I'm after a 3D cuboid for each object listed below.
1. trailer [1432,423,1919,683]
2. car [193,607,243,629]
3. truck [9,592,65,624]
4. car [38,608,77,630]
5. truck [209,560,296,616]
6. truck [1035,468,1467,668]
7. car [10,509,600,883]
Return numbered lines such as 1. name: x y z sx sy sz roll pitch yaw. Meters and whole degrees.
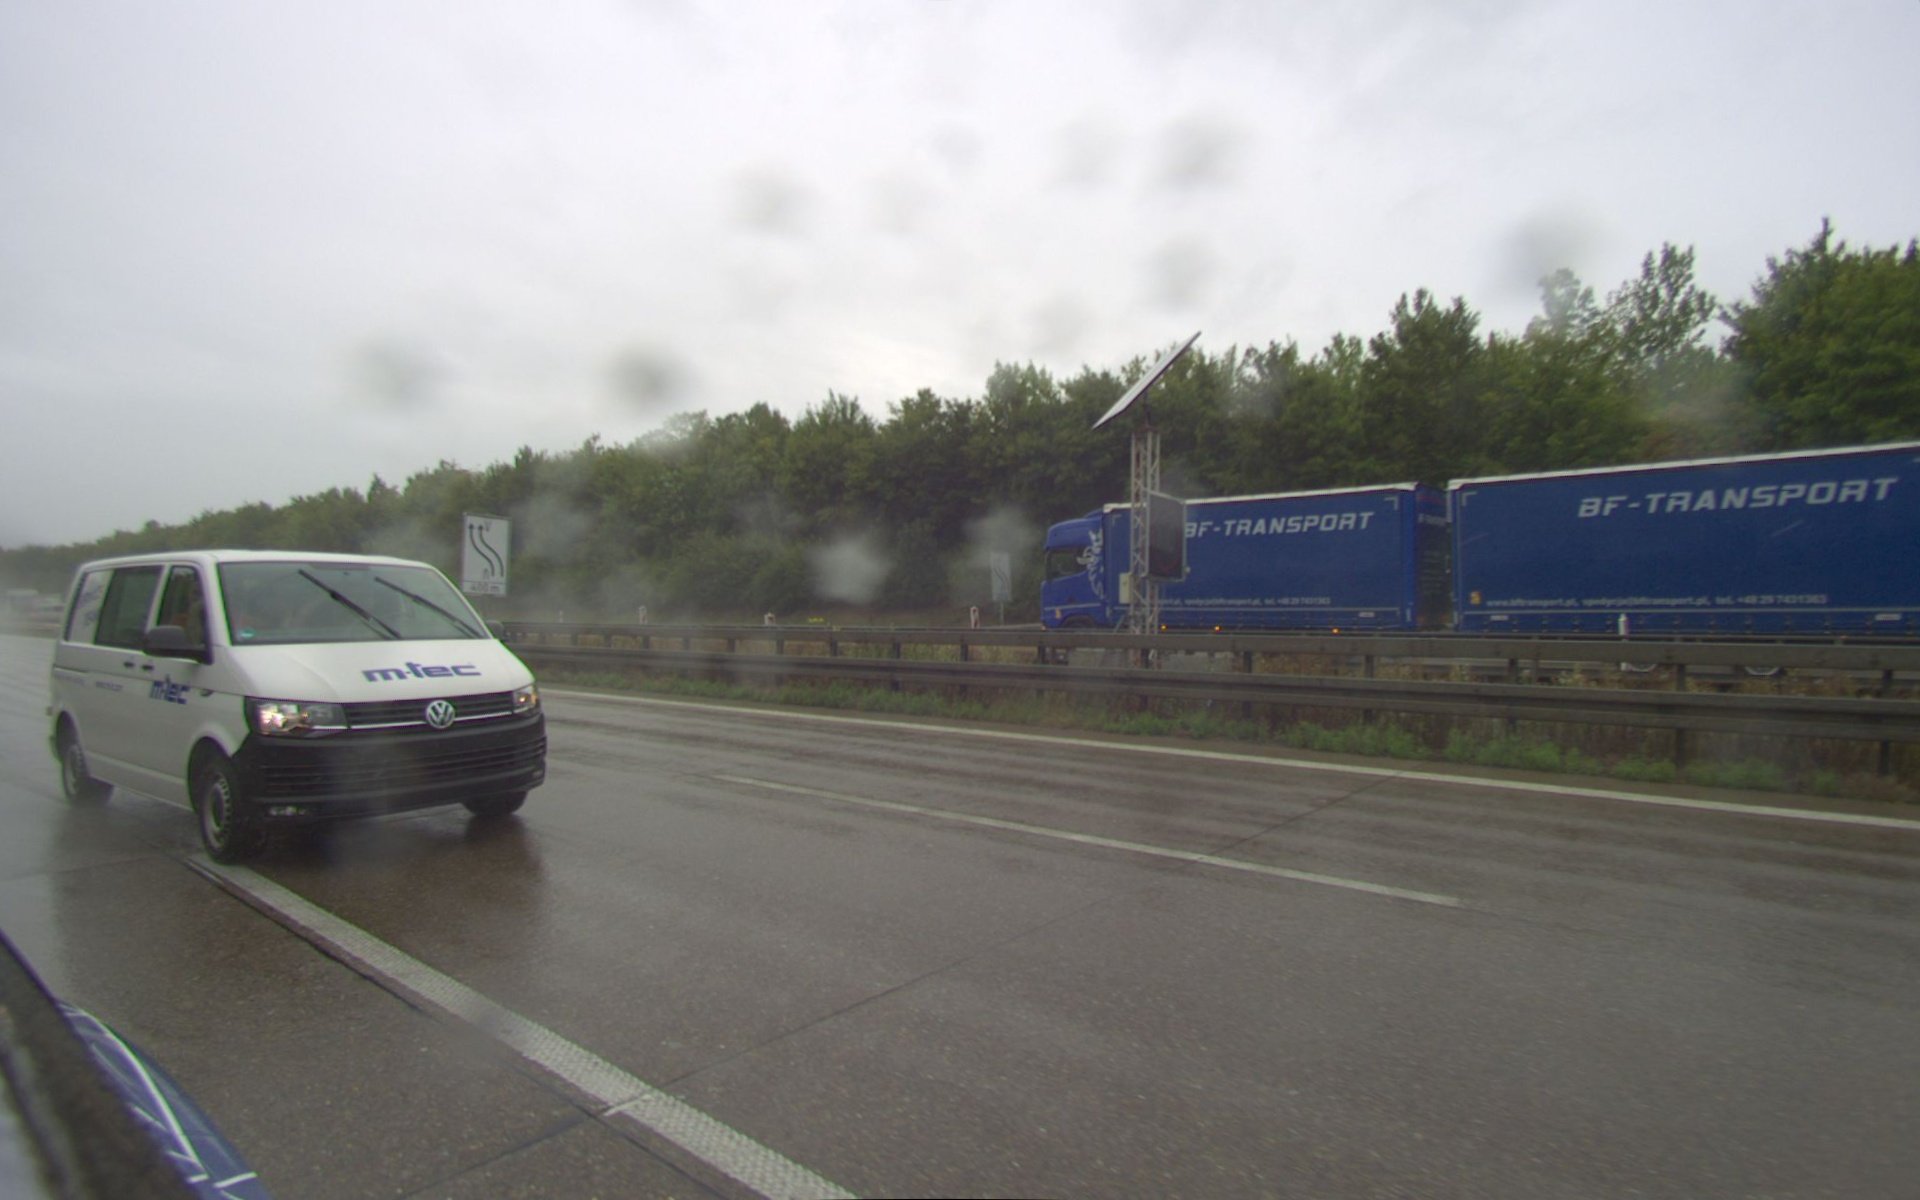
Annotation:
1. trailer: 14.029 -0.746 19.415 8.519 4.185 2.819 -1 1 41
2. car: -50.299 1.229 68.595 4.422 1.349 1.735 -1 1 40
3. truck: -102.234 0.933 111.992 11.501 3.340 2.747 -1 1 39
4. car: -86.589 1.786 97.063 5.193 2.028 1.958 -1 1 39
5. truck: -51.396 -0.809 73.416 9.790 3.728 2.559 -1 1 40
6. truck: 6.881 -0.624 25.573 10.171 4.185 2.819 -1 1 41
7. car: -4.981 0.545 7.403 5.031 1.908 1.883 -1 -2 35
